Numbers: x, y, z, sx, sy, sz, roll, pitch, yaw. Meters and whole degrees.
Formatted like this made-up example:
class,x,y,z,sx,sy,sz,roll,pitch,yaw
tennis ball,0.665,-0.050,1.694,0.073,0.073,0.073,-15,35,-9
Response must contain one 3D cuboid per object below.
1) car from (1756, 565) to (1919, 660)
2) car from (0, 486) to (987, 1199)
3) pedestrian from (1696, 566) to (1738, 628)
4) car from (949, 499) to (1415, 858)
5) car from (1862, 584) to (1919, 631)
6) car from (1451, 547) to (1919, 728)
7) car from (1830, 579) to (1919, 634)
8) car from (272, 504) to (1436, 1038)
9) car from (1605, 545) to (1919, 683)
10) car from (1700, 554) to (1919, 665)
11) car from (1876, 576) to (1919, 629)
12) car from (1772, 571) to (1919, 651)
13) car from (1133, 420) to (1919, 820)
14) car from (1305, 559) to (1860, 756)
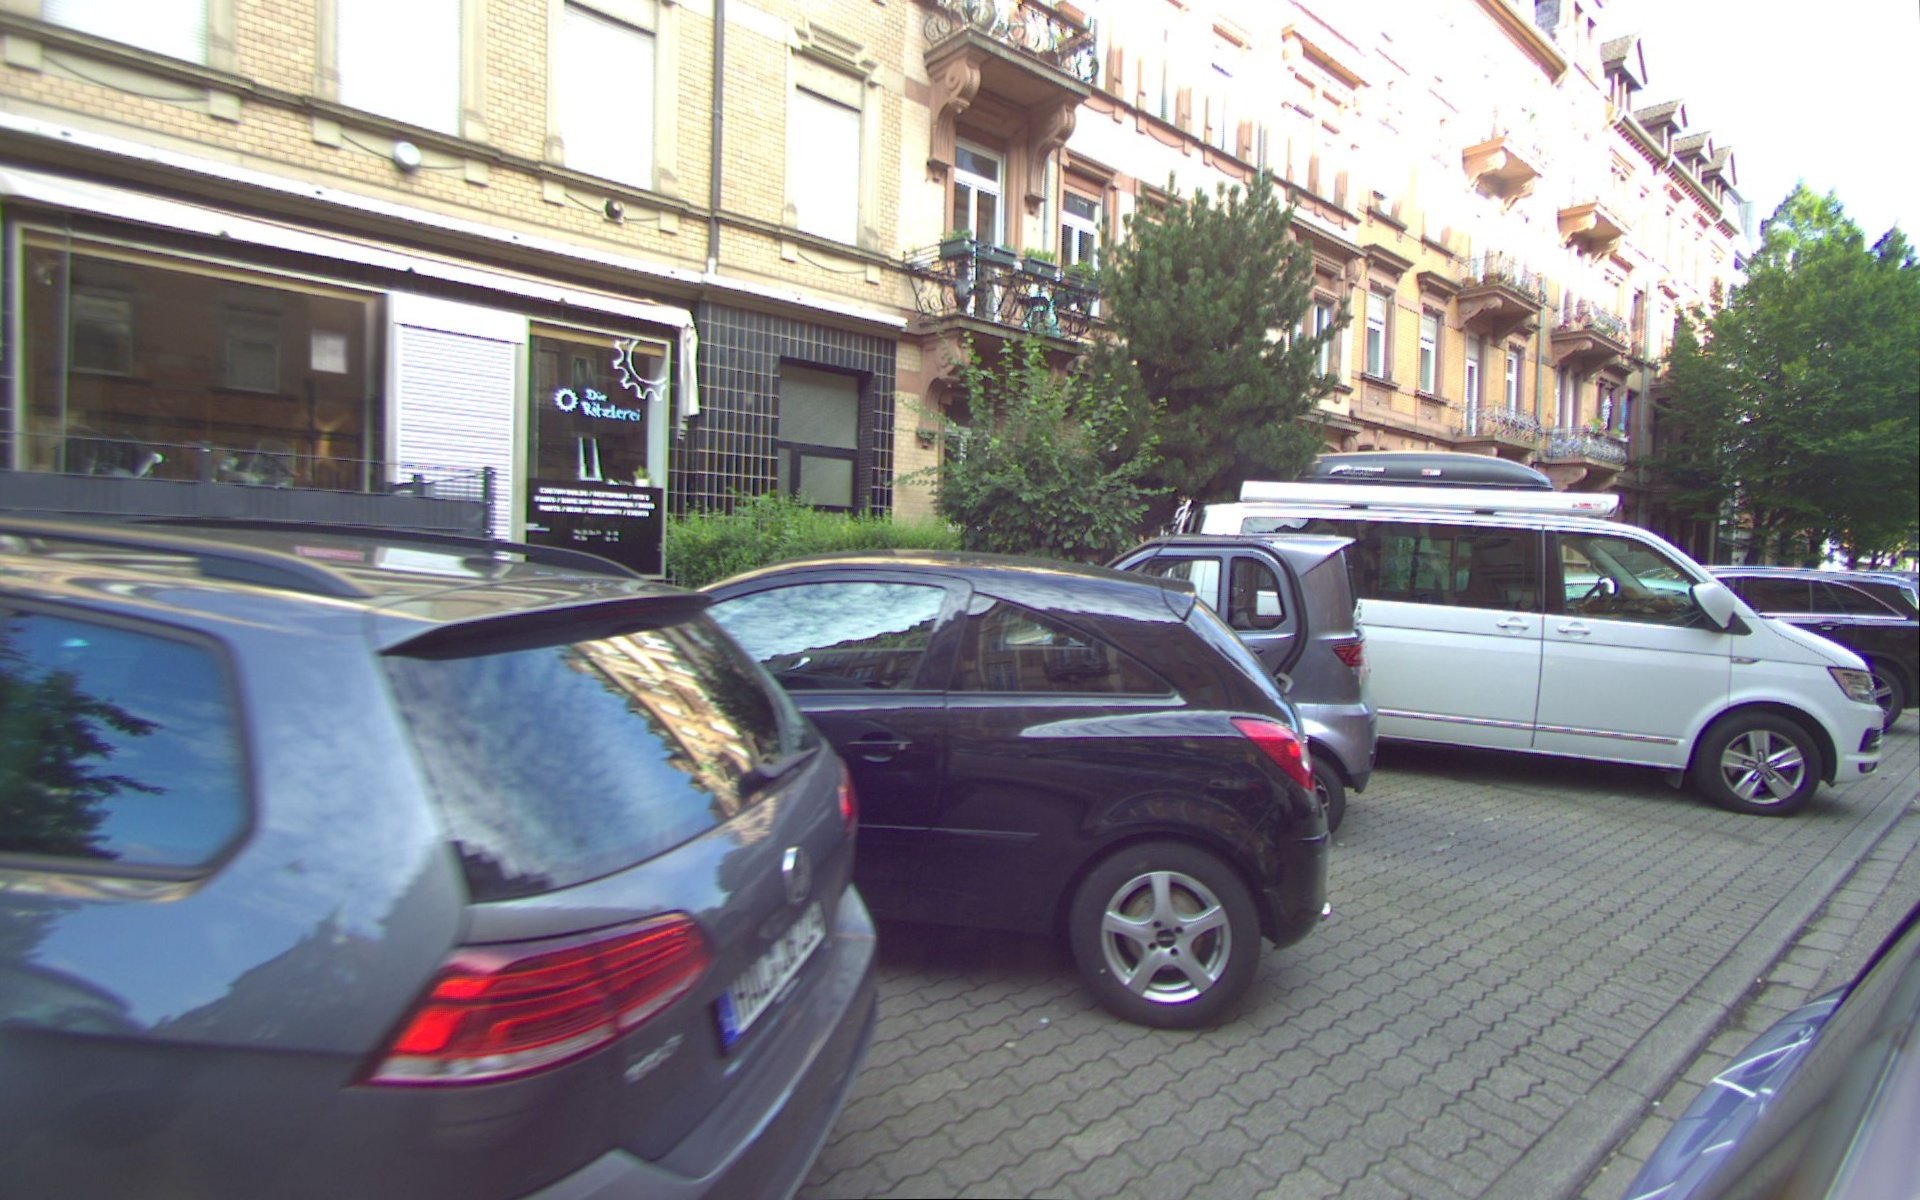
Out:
class,x,y,z,sx,sy,sz,roll,pitch,yaw
car,19.220,0.263,20.826,3.949,1.762,1.829,3,3,19
car,-2.289,0.494,2.279,4.398,1.494,1.884,5,3,10
pedestrian,20.797,-0.095,27.803,0.819,1.653,0.732,-1,4,-43
car,1.366,0.345,6.234,2.443,1.686,1.336,6,3,23
car,31.447,0.287,31.836,4.078,1.435,1.861,3,1,14
car,8.195,0.337,11.433,4.394,1.754,1.991,2,1,15
car,28.891,0.272,29.762,4.552,1.469,1.783,4,3,18
car,-0.421,0.463,4.234,3.928,1.477,1.747,3,2,9
car,13.564,0.149,16.576,1.778,1.806,4.648,0,5,-41
car,17.099,0.166,19.310,4.347,1.844,1.746,4,4,18
car,33.575,0.154,33.777,3.943,1.720,1.844,3,1,15
car,21.029,0.279,22.608,3.940,1.567,1.863,4,3,13
car,4.035,-0.021,7.722,5.090,2.434,1.908,3,3,17
car,5.659,0.446,9.847,4.176,1.568,1.865,2,1,15
